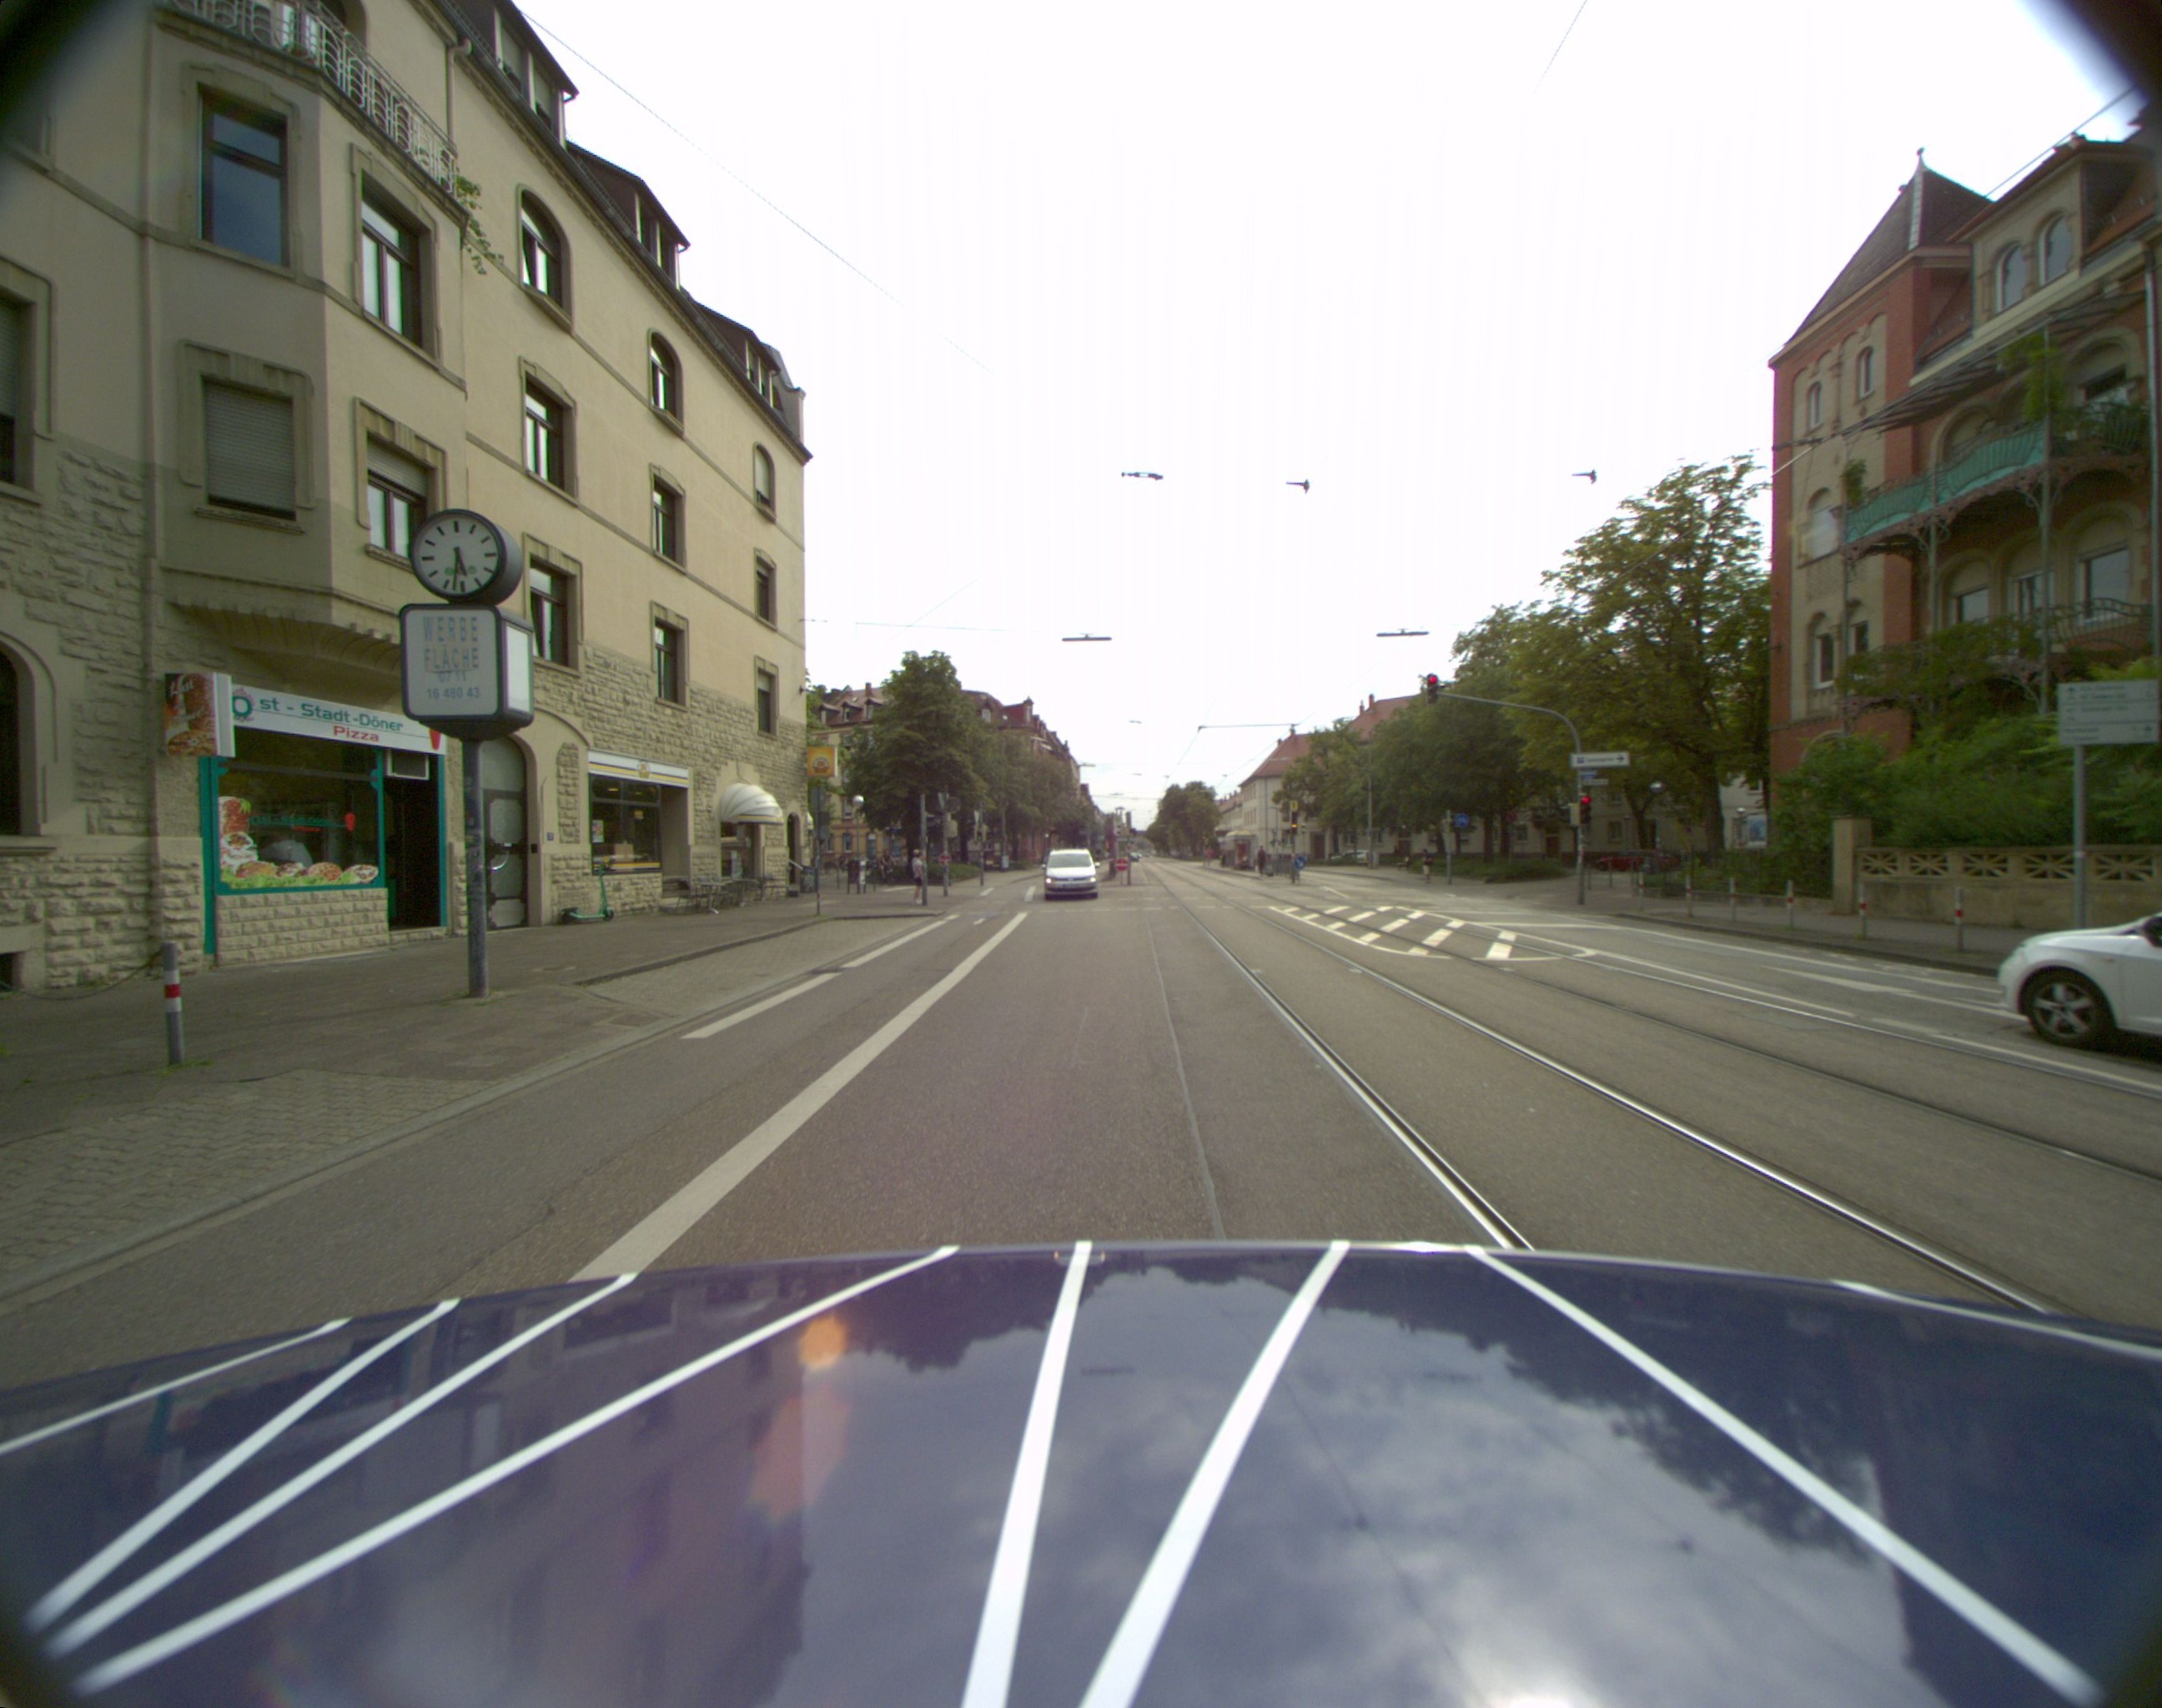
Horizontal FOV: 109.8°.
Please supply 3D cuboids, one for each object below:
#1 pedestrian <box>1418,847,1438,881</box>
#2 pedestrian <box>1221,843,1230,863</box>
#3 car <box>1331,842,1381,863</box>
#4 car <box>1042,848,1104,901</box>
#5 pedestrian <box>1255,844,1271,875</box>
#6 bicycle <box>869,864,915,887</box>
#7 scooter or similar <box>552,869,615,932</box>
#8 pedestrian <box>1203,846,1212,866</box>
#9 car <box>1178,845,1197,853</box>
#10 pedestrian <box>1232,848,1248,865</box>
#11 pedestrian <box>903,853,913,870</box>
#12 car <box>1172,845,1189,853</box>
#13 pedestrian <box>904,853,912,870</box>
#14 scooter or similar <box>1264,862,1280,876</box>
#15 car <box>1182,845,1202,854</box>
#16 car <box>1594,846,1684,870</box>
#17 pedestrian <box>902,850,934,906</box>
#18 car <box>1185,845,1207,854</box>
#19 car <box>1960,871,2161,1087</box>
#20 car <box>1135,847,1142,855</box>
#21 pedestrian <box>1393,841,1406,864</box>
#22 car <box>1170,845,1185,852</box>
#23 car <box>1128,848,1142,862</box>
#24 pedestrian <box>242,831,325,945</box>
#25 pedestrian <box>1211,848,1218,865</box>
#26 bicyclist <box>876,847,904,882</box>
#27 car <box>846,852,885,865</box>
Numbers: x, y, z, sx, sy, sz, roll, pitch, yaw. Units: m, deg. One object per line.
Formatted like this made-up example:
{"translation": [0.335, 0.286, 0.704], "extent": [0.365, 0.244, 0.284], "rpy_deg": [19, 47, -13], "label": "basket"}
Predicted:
{"translation": [17.116, 0.479, 37.446], "extent": [0.654, 1.681, 0.712], "rpy_deg": [-1, 1, 0], "label": "pedestrian"}
{"translation": [12.359, -0.058, 64.838], "extent": [0.588, 1.694, 0.619], "rpy_deg": [-2, 1, 0], "label": "pedestrian"}
{"translation": [26.644, -0.129, 73.628], "extent": [4.187, 1.854, 1.857], "rpy_deg": [-1, 1, 39], "label": "car"}
{"translation": [-0.196, 0.673, 27.029], "extent": [1.766, 1.661, 4.330], "rpy_deg": [-2, 1, 5], "label": "car"}
{"translation": [9.779, 0.284, 40.788], "extent": [0.684, 1.681, 0.815], "rpy_deg": [0, 1, 2], "label": "pedestrian"}
{"translation": [-9.343, 1.053, 37.490], "extent": [0.888, 1.039, 3.088], "rpy_deg": [-1, 1, -40], "label": "bicycle"}
{"translation": [-9.916, 0.903, 15.192], "extent": [0.398, 1.161, 1.197], "rpy_deg": [1, 1, 4], "label": "scooter or similar"}
{"translation": [12.133, 0.186, 73.055], "extent": [0.658, 1.824, 0.464], "rpy_deg": [-2, 1, -9], "label": "pedestrian"}
{"translation": [23.057, -1.050, 165.130], "extent": [3.995, 1.716, 1.877], "rpy_deg": [-2, 1, 6], "label": "car"}
{"translation": [11.946, 0.188, 56.948], "extent": [1.032, 1.229, 0.724], "rpy_deg": [-2, 1, 2], "label": "pedestrian"}
{"translation": [-17.745, 0.798, 77.904], "extent": [0.789, 1.684, 0.779], "rpy_deg": [-1, 1, 1], "label": "pedestrian"}
{"translation": [24.064, -1.240, 184.368], "extent": [3.995, 1.716, 1.877], "rpy_deg": [-2, 1, 6], "label": "car"}
{"translation": [-17.531, 0.784, 76.979], "extent": [0.612, 1.684, 0.641], "rpy_deg": [-1, 1, -1], "label": "pedestrian"}
{"translation": [10.081, 0.770, 40.101], "extent": [0.669, 0.708, 0.604], "rpy_deg": [1, 1, 35], "label": "scooter or similar"}
{"translation": [22.636, -0.950, 154.643], "extent": [3.995, 1.716, 1.877], "rpy_deg": [-2, 1, 6], "label": "car"}
{"translation": [34.397, 0.223, 47.017], "extent": [1.705, 1.397, 4.304], "rpy_deg": [-1, 1, -18], "label": "car"}
{"translation": [-5.090, 0.738, 23.765], "extent": [0.721, 1.651, 0.759], "rpy_deg": [3, 1, 0], "label": "pedestrian"}
{"translation": [21.848, -0.840, 144.353], "extent": [3.995, 1.716, 1.877], "rpy_deg": [-2, 1, 6], "label": "car"}
{"translation": [7.932, 0.880, 4.300], "extent": [1.574, 1.408, 4.002], "rpy_deg": [1, 1, 7], "label": "car"}
{"translation": [15.939, -0.888, 211.021], "extent": [1.998, 2.002, 4.001], "rpy_deg": [-2, 1, 5], "label": "car"}
{"translation": [28.876, -0.133, 68.889], "extent": [0.862, 2.002, 0.765], "rpy_deg": [-1, 1, 38], "label": "pedestrian"}
{"translation": [25.592, -1.429, 201.431], "extent": [3.995, 1.716, 1.877], "rpy_deg": [-2, 1, 6], "label": "car"}
{"translation": [8.351, 0.115, 118.017], "extent": [1.998, 2.002, 4.001], "rpy_deg": [-2, 1, 5], "label": "car"}
{"translation": [-11.346, 0.474, 10.821], "extent": [0.551, 1.571, 0.561], "rpy_deg": [0, 1, 3], "label": "pedestrian"}
{"translation": [12.804, 0.246, 73.033], "extent": [0.501, 1.694, 0.402], "rpy_deg": [-2, 1, -9], "label": "pedestrian"}
{"translation": [-9.437, 0.526, 37.564], "extent": [0.841, 1.680, 1.243], "rpy_deg": [-1, 0, -40], "label": "bicyclist"}
{"translation": [-22.053, 0.453, 77.862], "extent": [3.581, 1.259, 1.742], "rpy_deg": [-1, 1, 27], "label": "car"}
